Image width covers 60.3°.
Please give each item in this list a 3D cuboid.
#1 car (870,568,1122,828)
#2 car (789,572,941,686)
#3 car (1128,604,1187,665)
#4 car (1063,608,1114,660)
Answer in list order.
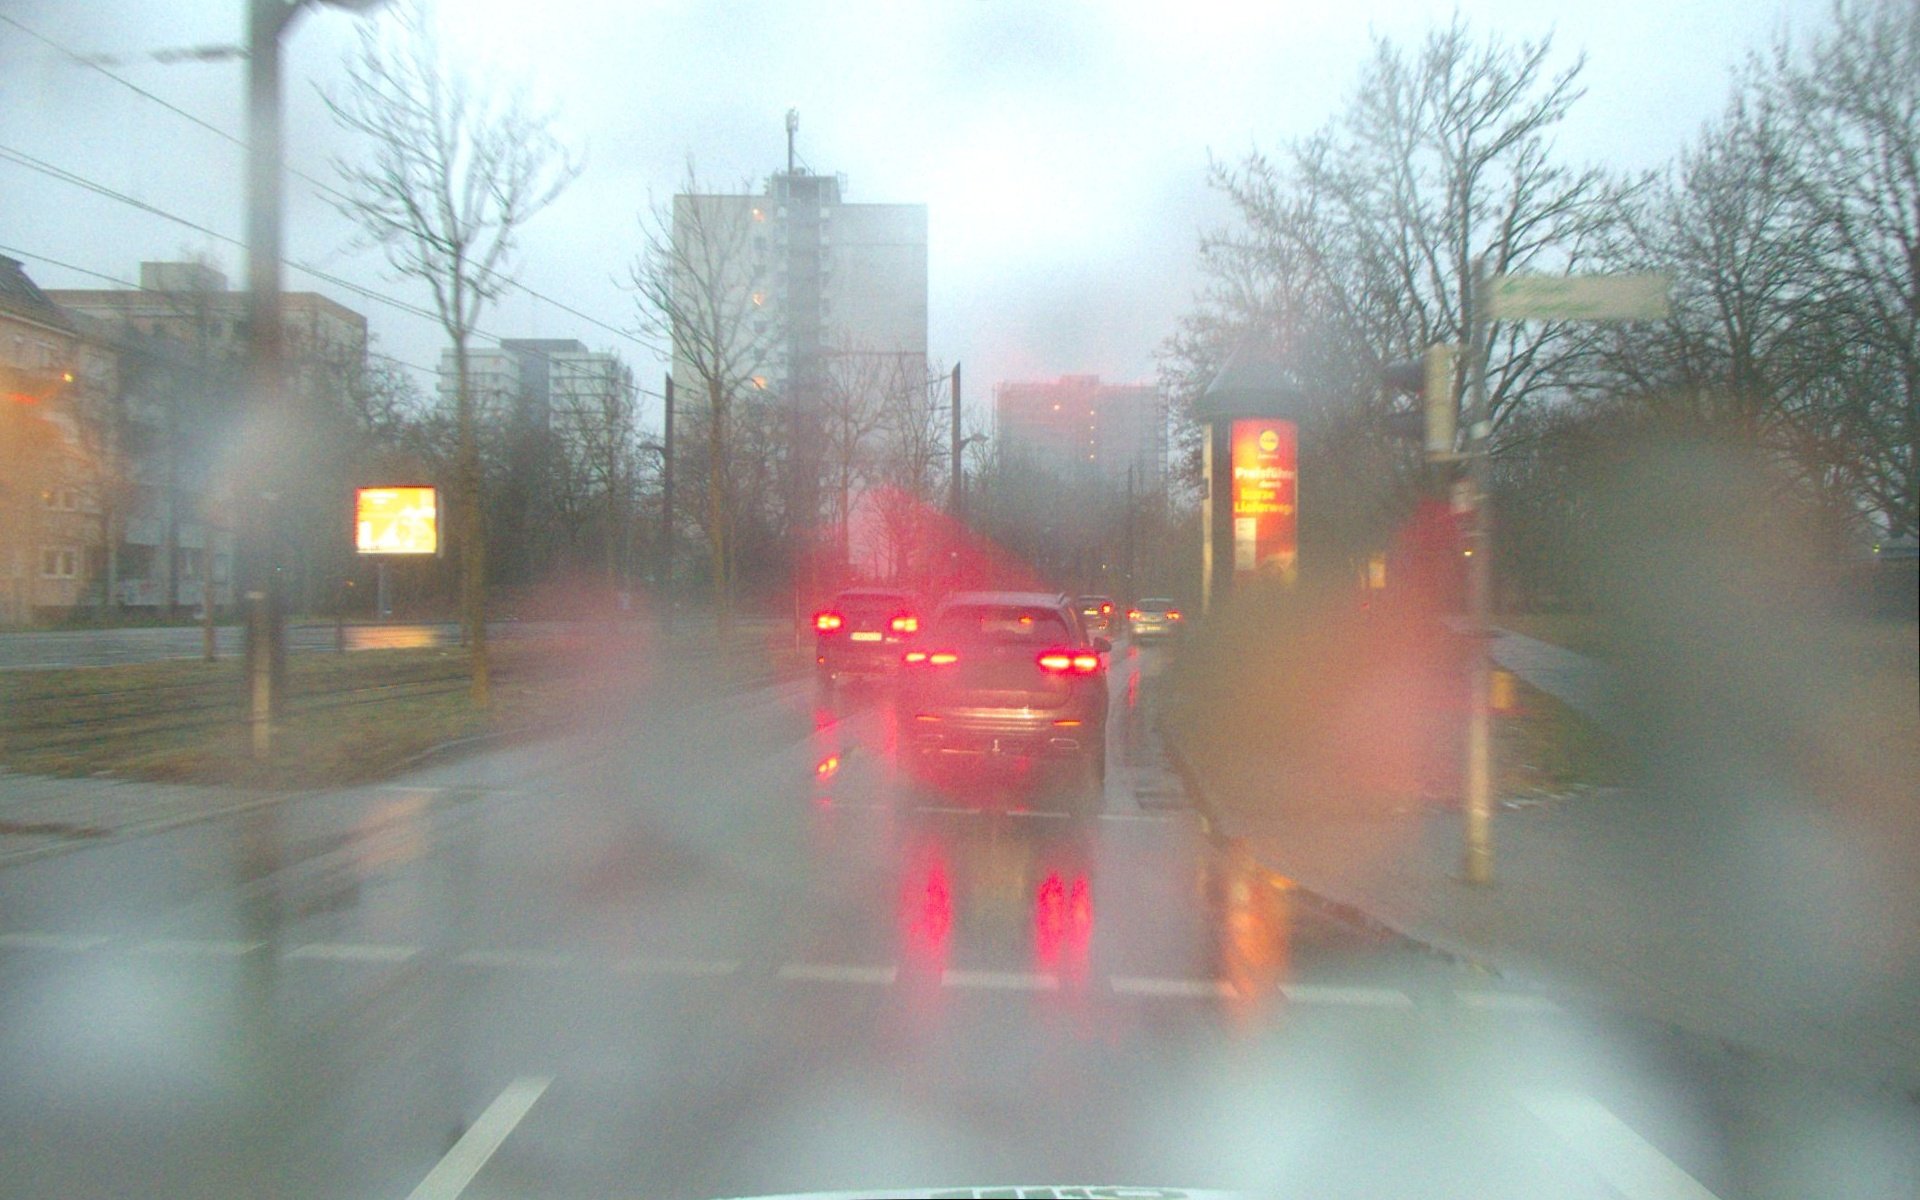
[{"bbox_3d":[0.326,0.816,15.174,1.952,2.010,4.068,2,-1,1],"label":"car"},{"bbox_3d":[-1.523,0.504,28.246,1.951,1.742,4.327,1,-1,5],"label":"car"},{"bbox_3d":[6.628,1.148,55.226,1.817,1.925,4.003,1,-1,8],"label":"car"},{"bbox_3d":[5.083,1.333,64.936,1.734,1.925,3.645,1,-1,8],"label":"car"}]
